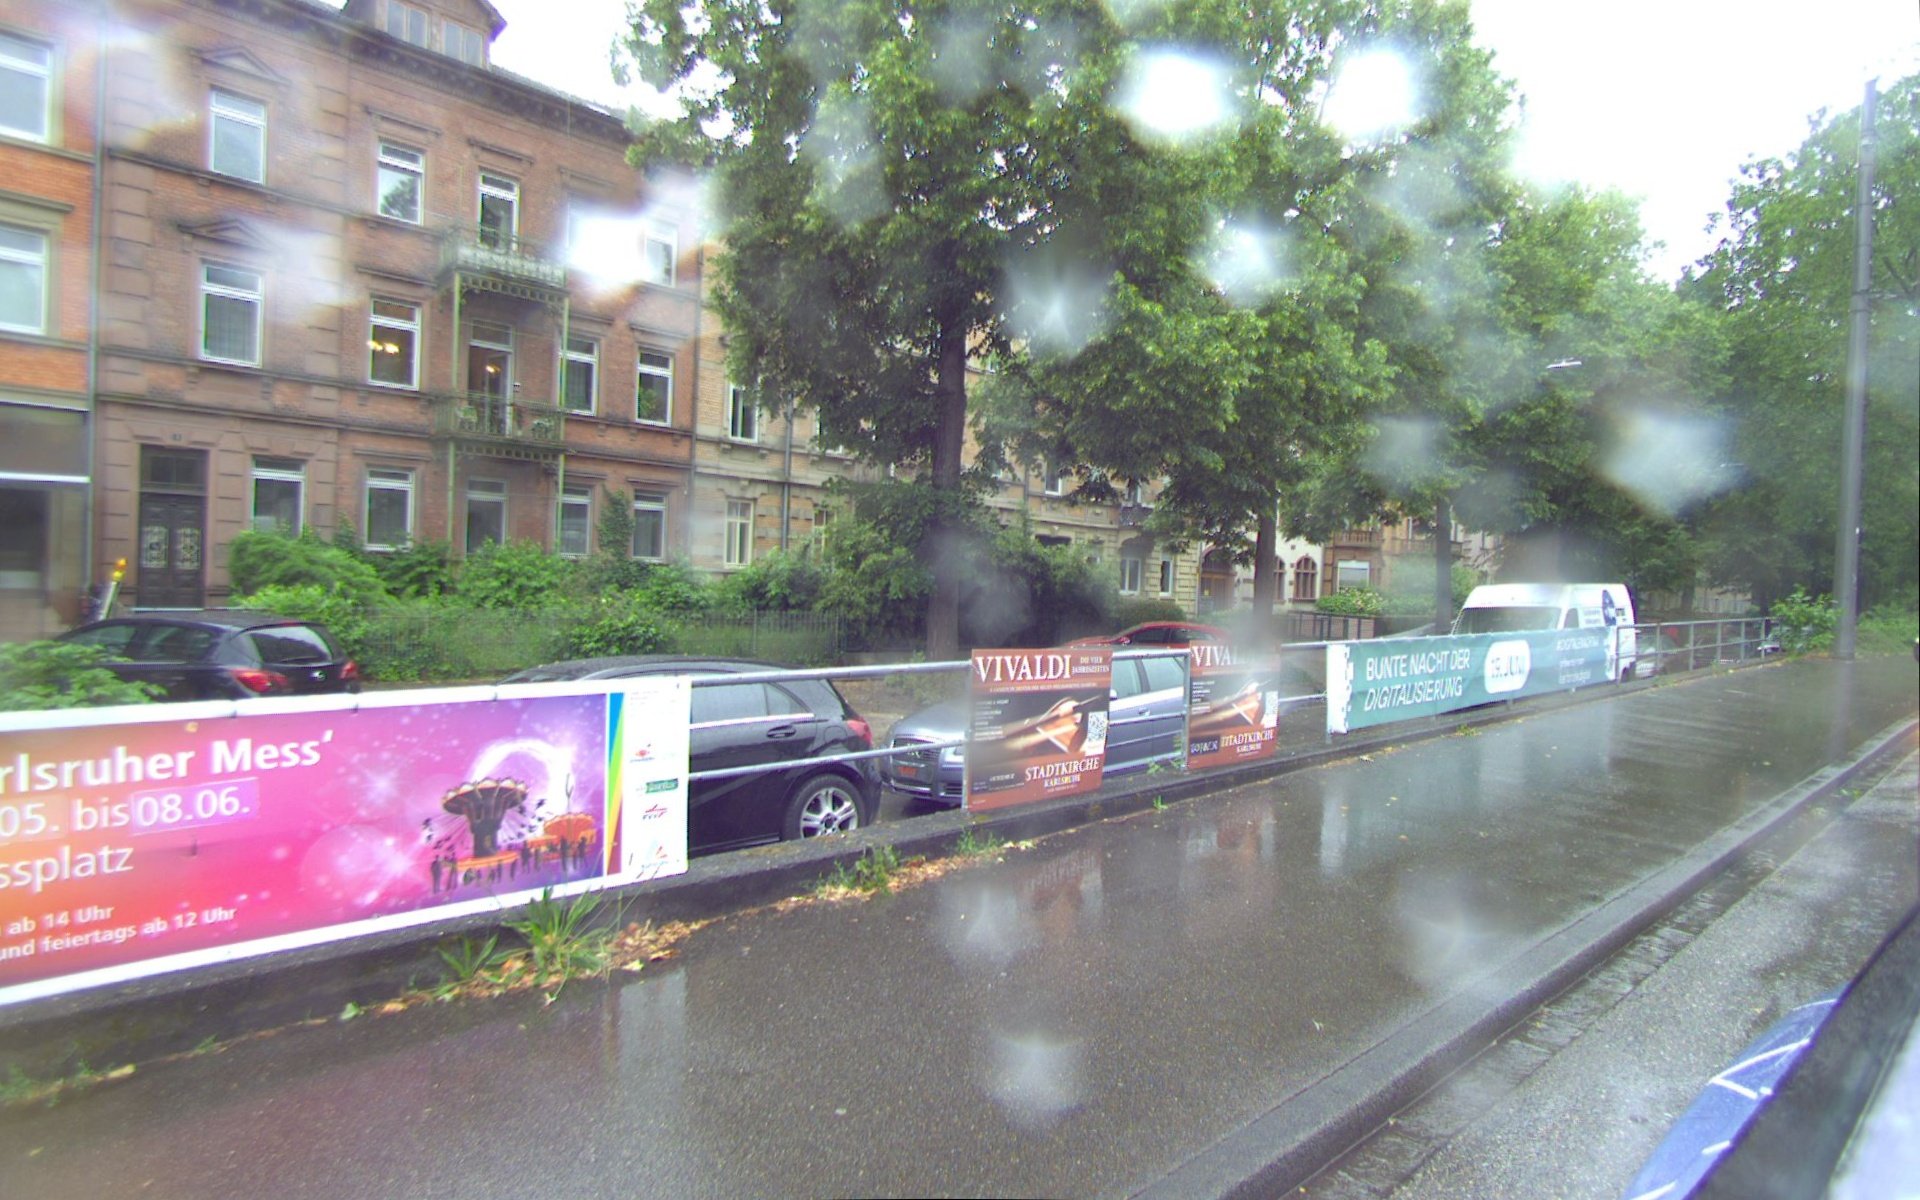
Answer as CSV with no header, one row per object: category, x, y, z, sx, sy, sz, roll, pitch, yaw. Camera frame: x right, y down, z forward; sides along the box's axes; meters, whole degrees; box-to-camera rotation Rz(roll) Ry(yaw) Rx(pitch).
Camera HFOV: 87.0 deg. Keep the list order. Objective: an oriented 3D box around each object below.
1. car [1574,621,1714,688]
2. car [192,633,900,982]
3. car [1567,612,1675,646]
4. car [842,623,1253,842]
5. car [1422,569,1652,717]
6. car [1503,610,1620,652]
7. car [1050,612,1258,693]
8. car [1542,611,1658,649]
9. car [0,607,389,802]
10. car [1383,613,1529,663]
car,16.543,1.243,24.399,4.312,1.370,1.968,0,0,-44
car,-2.451,1.004,6.522,3.903,1.417,1.706,0,1,-41
car,31.702,1.380,48.654,3.942,1.482,1.904,0,1,15
car,0.988,1.060,9.777,4.006,1.559,1.734,0,0,-43
car,11.356,0.694,19.668,6.055,2.451,2.211,0,0,-43
car,25.583,1.286,43.174,3.947,1.629,1.815,1,1,19
car,4.382,1.116,22.732,4.372,1.471,1.888,2,1,18
car,28.544,1.308,45.280,3.942,1.585,1.991,0,1,15
car,-8.540,0.983,11.204,3.959,1.735,1.983,1,1,26
car,16.503,1.235,33.892,4.214,1.397,1.679,2,2,22
